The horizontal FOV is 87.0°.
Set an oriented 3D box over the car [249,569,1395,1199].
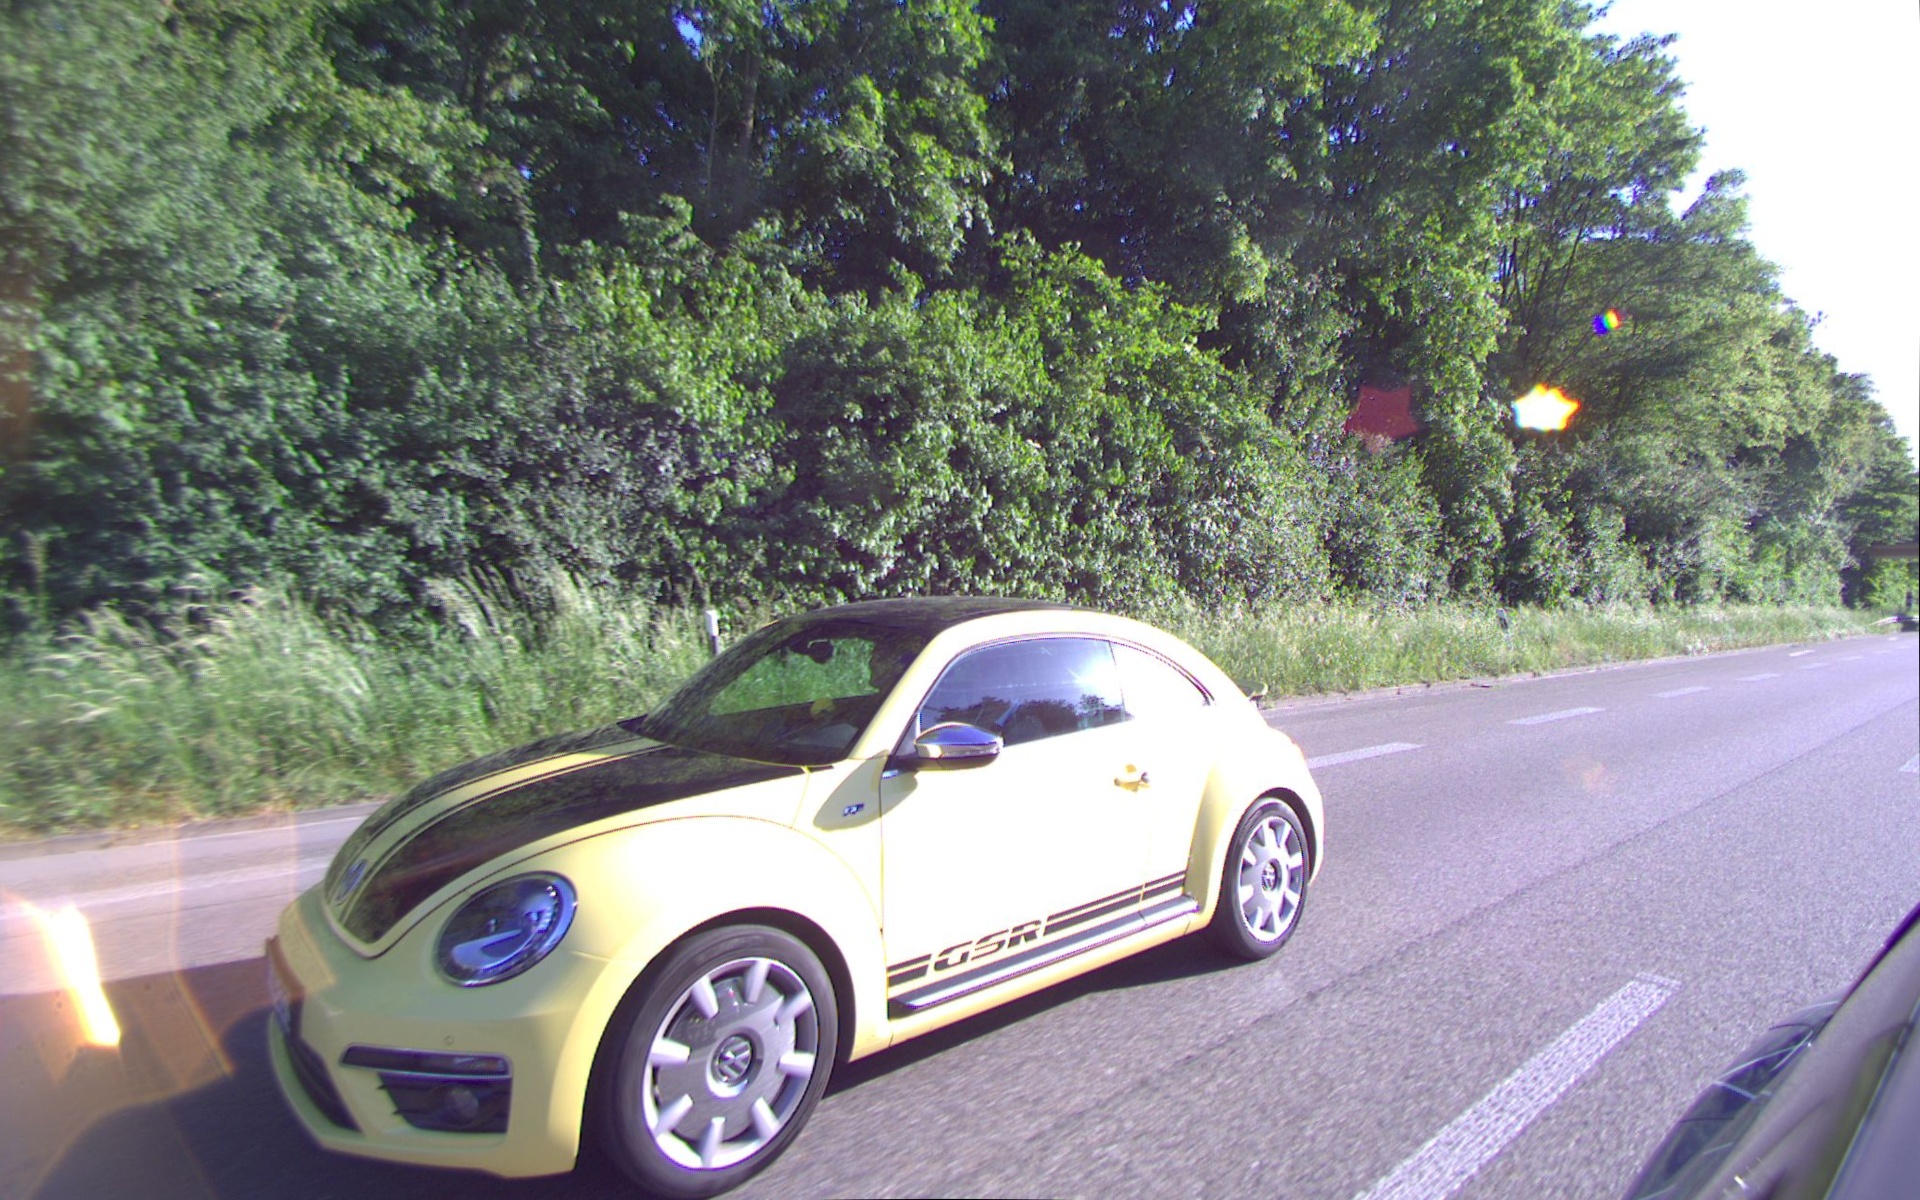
[{"bbox_3d":[-0.159,0.669,4.094,4.280,1.480,1.883,0,0,-41],"label":"car"}]
